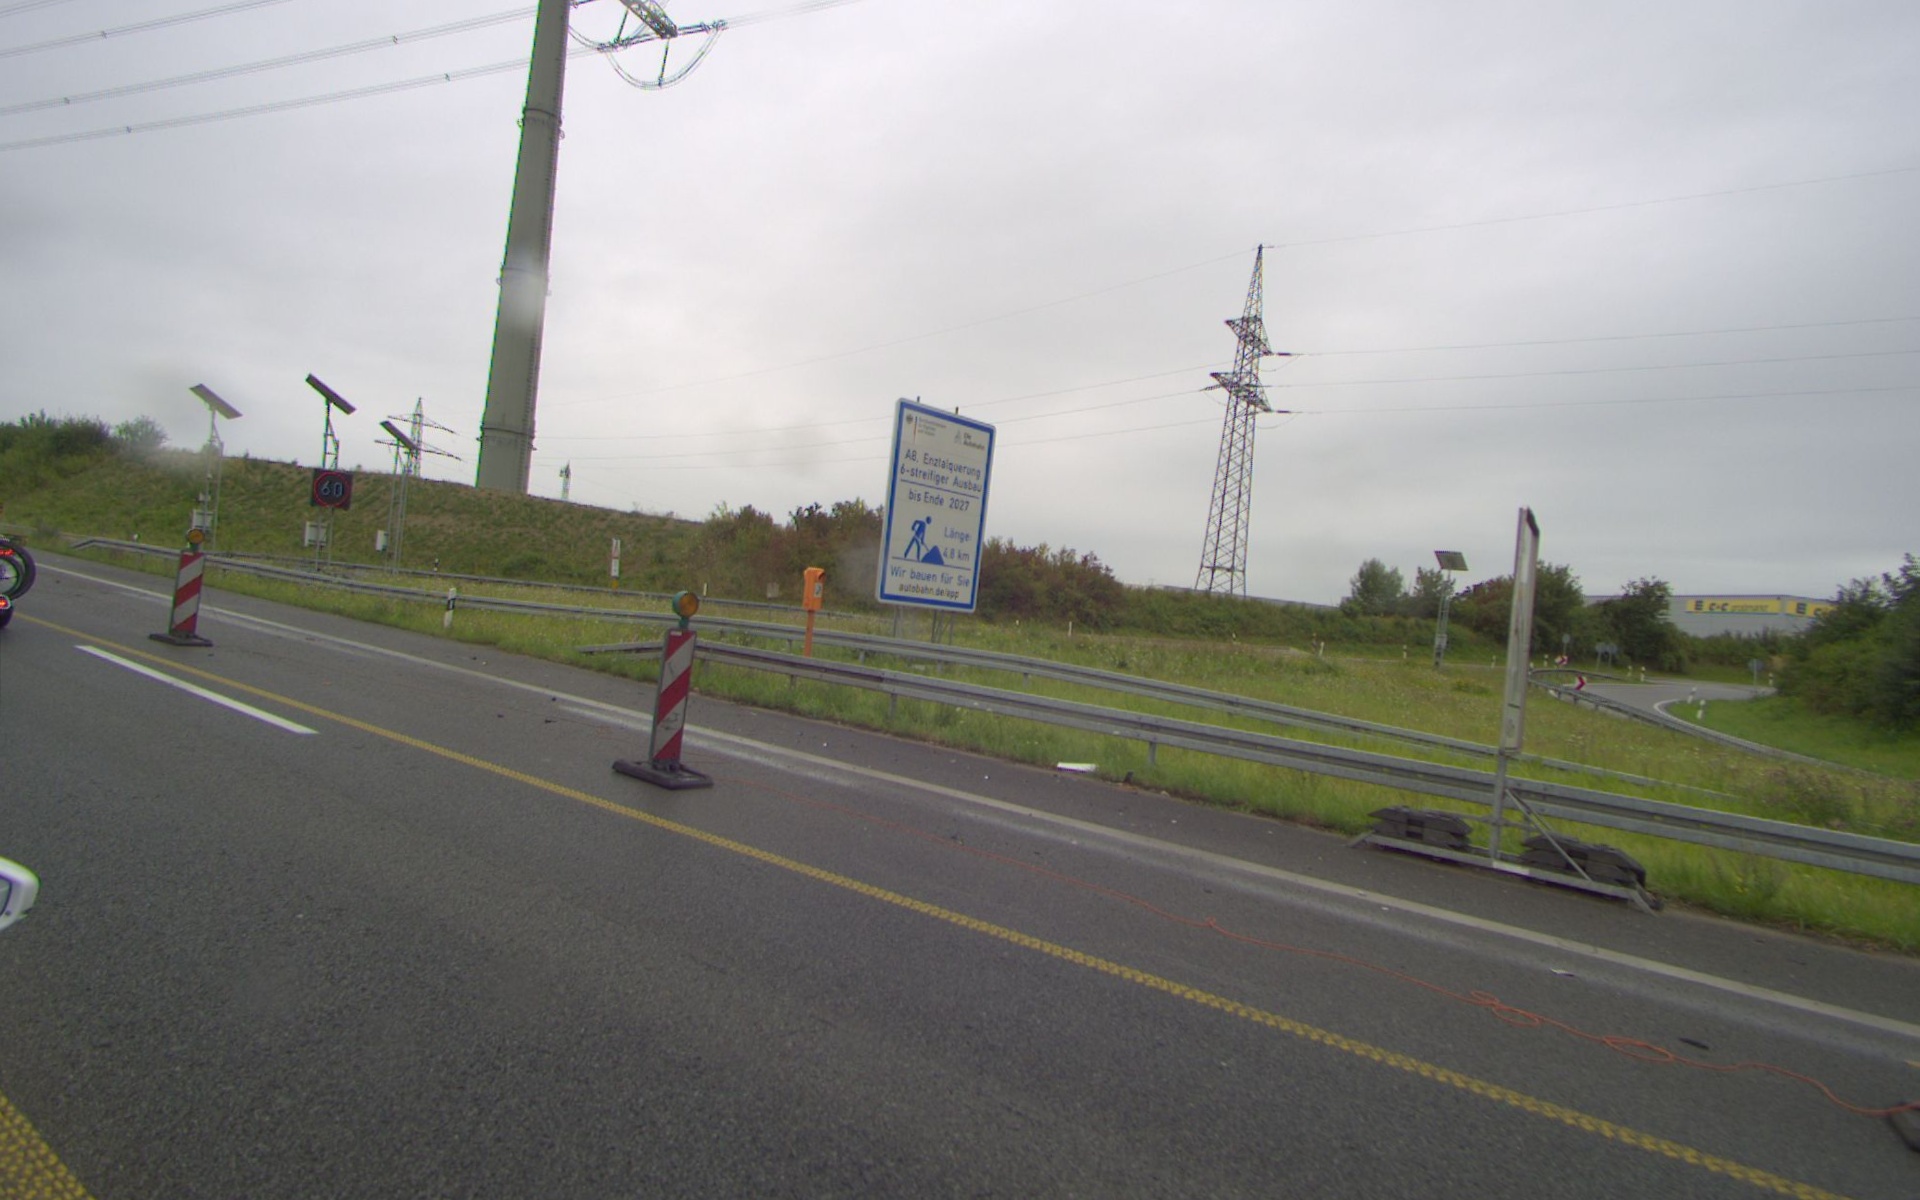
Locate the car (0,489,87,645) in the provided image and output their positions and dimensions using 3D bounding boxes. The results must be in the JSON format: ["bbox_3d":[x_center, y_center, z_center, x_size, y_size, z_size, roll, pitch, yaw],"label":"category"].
[{"bbox_3d":[-12.792,-0.666,11.909,5.706,1.614,2.049,6,-2,32],"label":"car"}]
